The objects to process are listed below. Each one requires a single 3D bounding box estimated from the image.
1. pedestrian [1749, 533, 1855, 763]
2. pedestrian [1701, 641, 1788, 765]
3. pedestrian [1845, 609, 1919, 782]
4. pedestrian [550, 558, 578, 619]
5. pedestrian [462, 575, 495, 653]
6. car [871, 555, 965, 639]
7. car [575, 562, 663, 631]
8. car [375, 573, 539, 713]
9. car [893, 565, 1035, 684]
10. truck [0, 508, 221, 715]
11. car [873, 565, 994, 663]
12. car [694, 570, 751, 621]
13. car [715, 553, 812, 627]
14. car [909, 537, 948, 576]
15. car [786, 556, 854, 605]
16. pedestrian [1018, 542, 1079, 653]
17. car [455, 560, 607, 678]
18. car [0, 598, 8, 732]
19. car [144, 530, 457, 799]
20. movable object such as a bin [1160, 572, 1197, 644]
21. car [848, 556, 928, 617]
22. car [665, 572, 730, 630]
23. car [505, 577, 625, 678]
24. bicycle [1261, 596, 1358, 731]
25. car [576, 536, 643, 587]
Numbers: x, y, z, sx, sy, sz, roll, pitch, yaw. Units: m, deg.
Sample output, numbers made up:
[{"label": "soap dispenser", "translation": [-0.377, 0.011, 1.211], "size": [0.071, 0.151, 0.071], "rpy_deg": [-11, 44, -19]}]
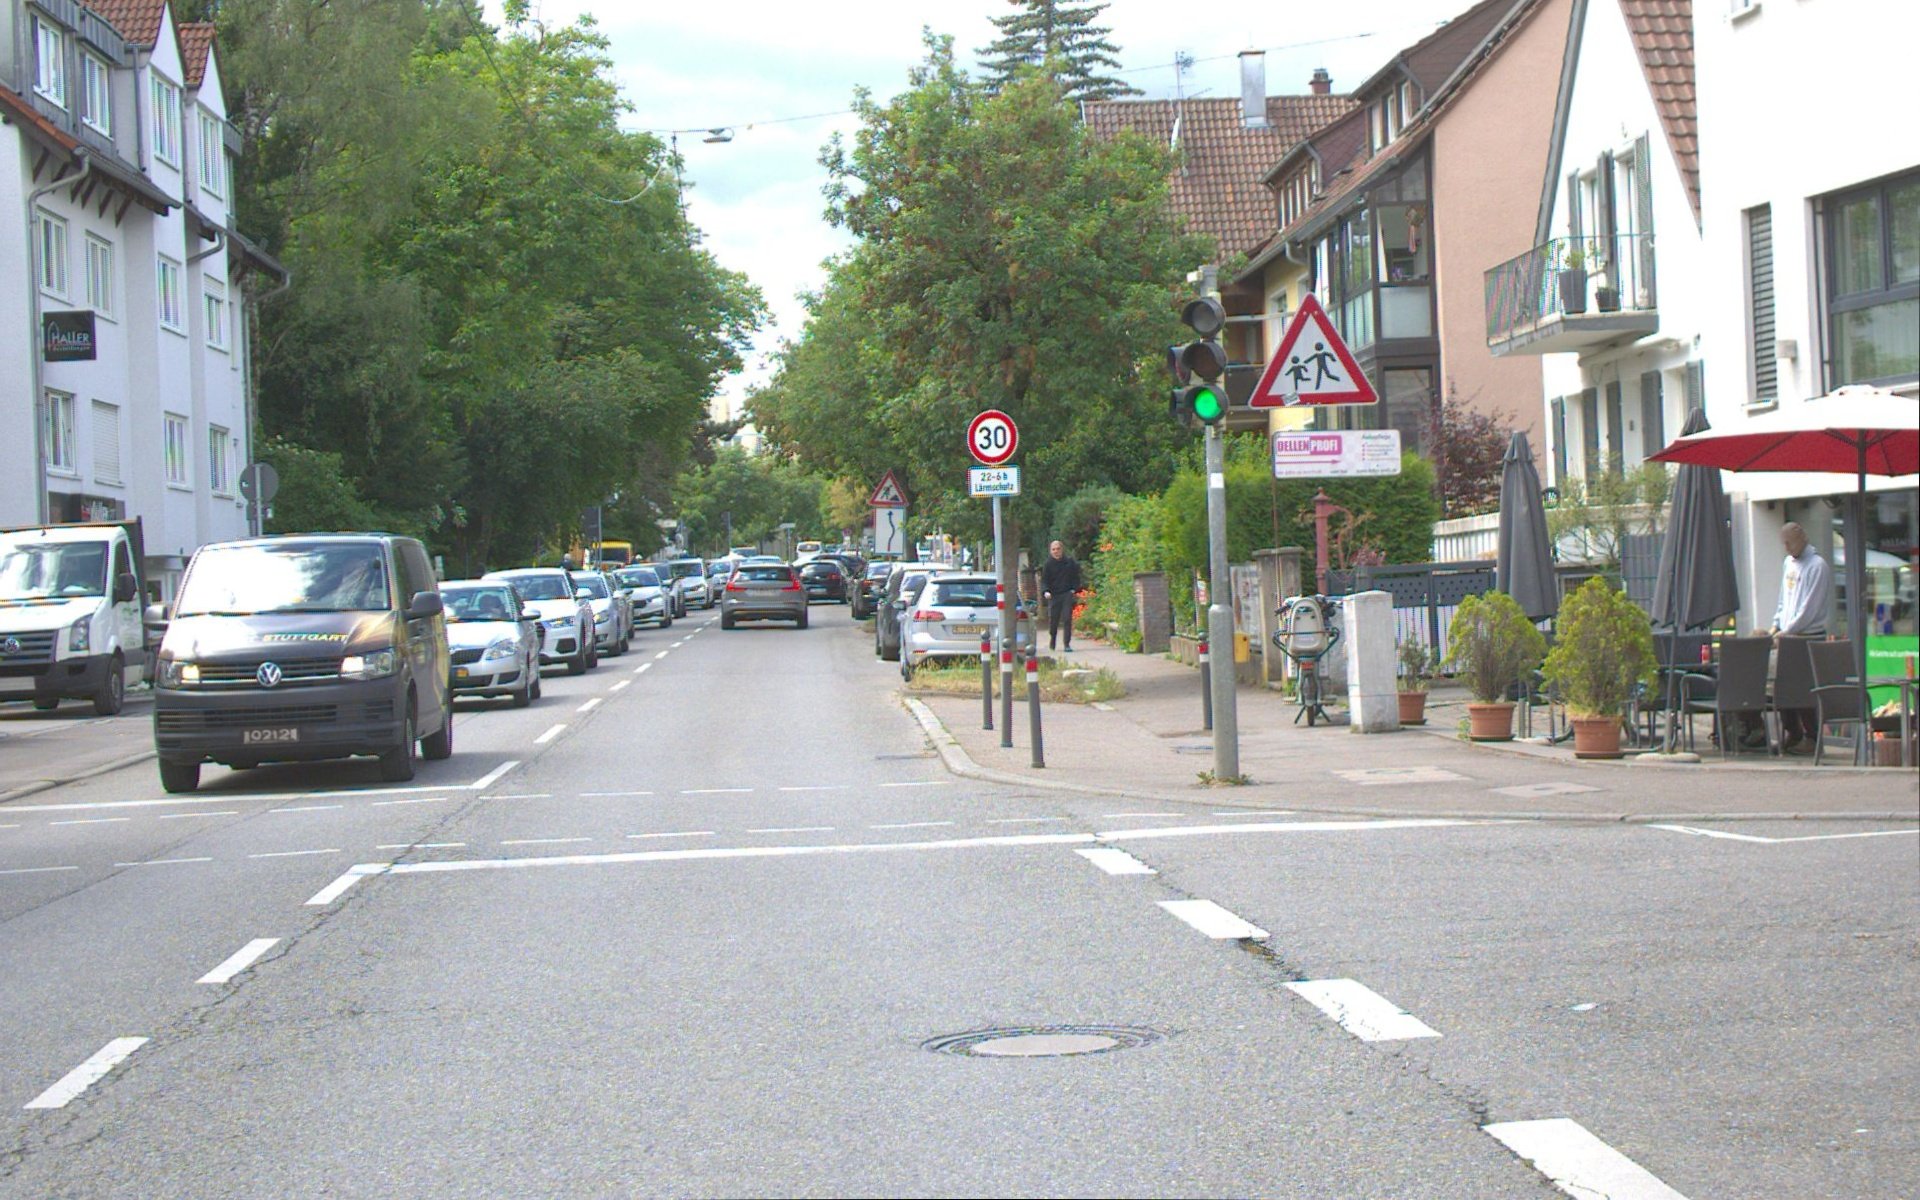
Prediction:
[{"label": "pedestrian", "translation": [6.537, 0.369, 26.709], "size": [0.427, 1.756, 0.676], "rpy_deg": [-2, 0, -23]}, {"label": "pedestrian", "translation": [6.088, 0.792, 26.693], "size": [0.418, 0.935, 0.498], "rpy_deg": [-2, 0, -23]}, {"label": "pedestrian", "translation": [6.183, 0.608, 22.255], "size": [0.566, 1.085, 0.634], "rpy_deg": [-2, 0, -28]}, {"label": "pedestrian", "translation": [-11.457, -0.333, 99.415], "size": [0.714, 1.756, 1.122], "rpy_deg": [-2, 0, -8]}, {"label": "pedestrian", "translation": [-10.453, 0.303, 74.645], "size": [0.653, 1.661, 0.932], "rpy_deg": [-2, 0, -8]}, {"label": "car", "translation": [-0.834, -0.075, 66.292], "size": [1.621, 1.502, 3.779], "rpy_deg": [-2, 1, -3]}, {"label": "car", "translation": [-7.962, -0.104, 80.582], "size": [1.759, 1.434, 3.971], "rpy_deg": [-4, 1, -3]}, {"label": "car", "translation": [-5.800, 0.462, 39.940], "size": [1.617, 1.481, 3.814], "rpy_deg": [-2, 1, -5]}, {"label": "car", "translation": [0.002, 0.286, 46.481], "size": [1.700, 1.475, 4.873], "rpy_deg": [-1, 1, -2]}, {"label": "truck", "translation": [-11.097, 0.136, 43.103], "size": [2.224, 2.372, 6.326], "rpy_deg": [-2, 0, 0]}, {"label": "car", "translation": [-0.464, 0.189, 54.991], "size": [1.734, 1.424, 4.883], "rpy_deg": [1, 1, -3]}, {"label": "car", "translation": [-8.295, -0.177, 120.389], "size": [1.785, 1.586, 4.154], "rpy_deg": [-4, 1, -2]}, {"label": "car", "translation": [-4.265, -0.246, 75.173], "size": [1.976, 1.508, 4.267], "rpy_deg": [1, 1, -2]}, {"label": "car", "translation": [-1.707, -2.330, 185.169], "size": [1.993, 2.007, 4.000], "rpy_deg": [-2, 0, -1]}, {"label": "car", "translation": [-4.537, -0.653, 111.852], "size": [1.816, 1.495, 4.266], "rpy_deg": [-1, 1, 3]}, {"label": "pedestrian", "translation": [1.393, -0.038, 54.208], "size": [0.880, 1.706, 0.842], "rpy_deg": [-2, 0, -1]}, {"label": "car", "translation": [-6.296, 0.244, 50.840], "size": [1.806, 1.566, 4.160], "rpy_deg": [-4, 1, -3]}, {"label": "car", "translation": [-11.949, 0.741, 35.697], "size": [3.692, 1.420, 1.805], "rpy_deg": [-1, 1, -6]}, {"label": "car", "translation": [-5.127, 0.438, 27.317], "size": [1.876, 1.906, 4.752], "rpy_deg": [-1, 1, -4]}, {"label": "movable object such as a bin", "translation": [3.304, 0.120, 51.933], "size": [0.523, 1.077, 0.604], "rpy_deg": [-2, 0, 3]}, {"label": "car", "translation": [-1.810, -0.359, 85.145], "size": [1.801, 1.440, 4.887], "rpy_deg": [0, 1, -3]}, {"label": "car", "translation": [-8.280, 0.001, 108.797], "size": [1.786, 1.642, 4.491], "rpy_deg": [-4, 1, -2]}, {"label": "car", "translation": [-6.778, 0.443, 59.331], "size": [1.728, 1.497, 4.377], "rpy_deg": [-4, 1, -3]}, {"label": "bicycle", "translation": [3.137, 0.549, 31.017], "size": [0.721, 1.146, 2.213], "rpy_deg": [-2, 0, 3]}, {"label": "car", "translation": [-14.192, -1.532, 139.477], "size": [2.146, 1.974, 4.931], "rpy_deg": [-2, 0, 0]}]
